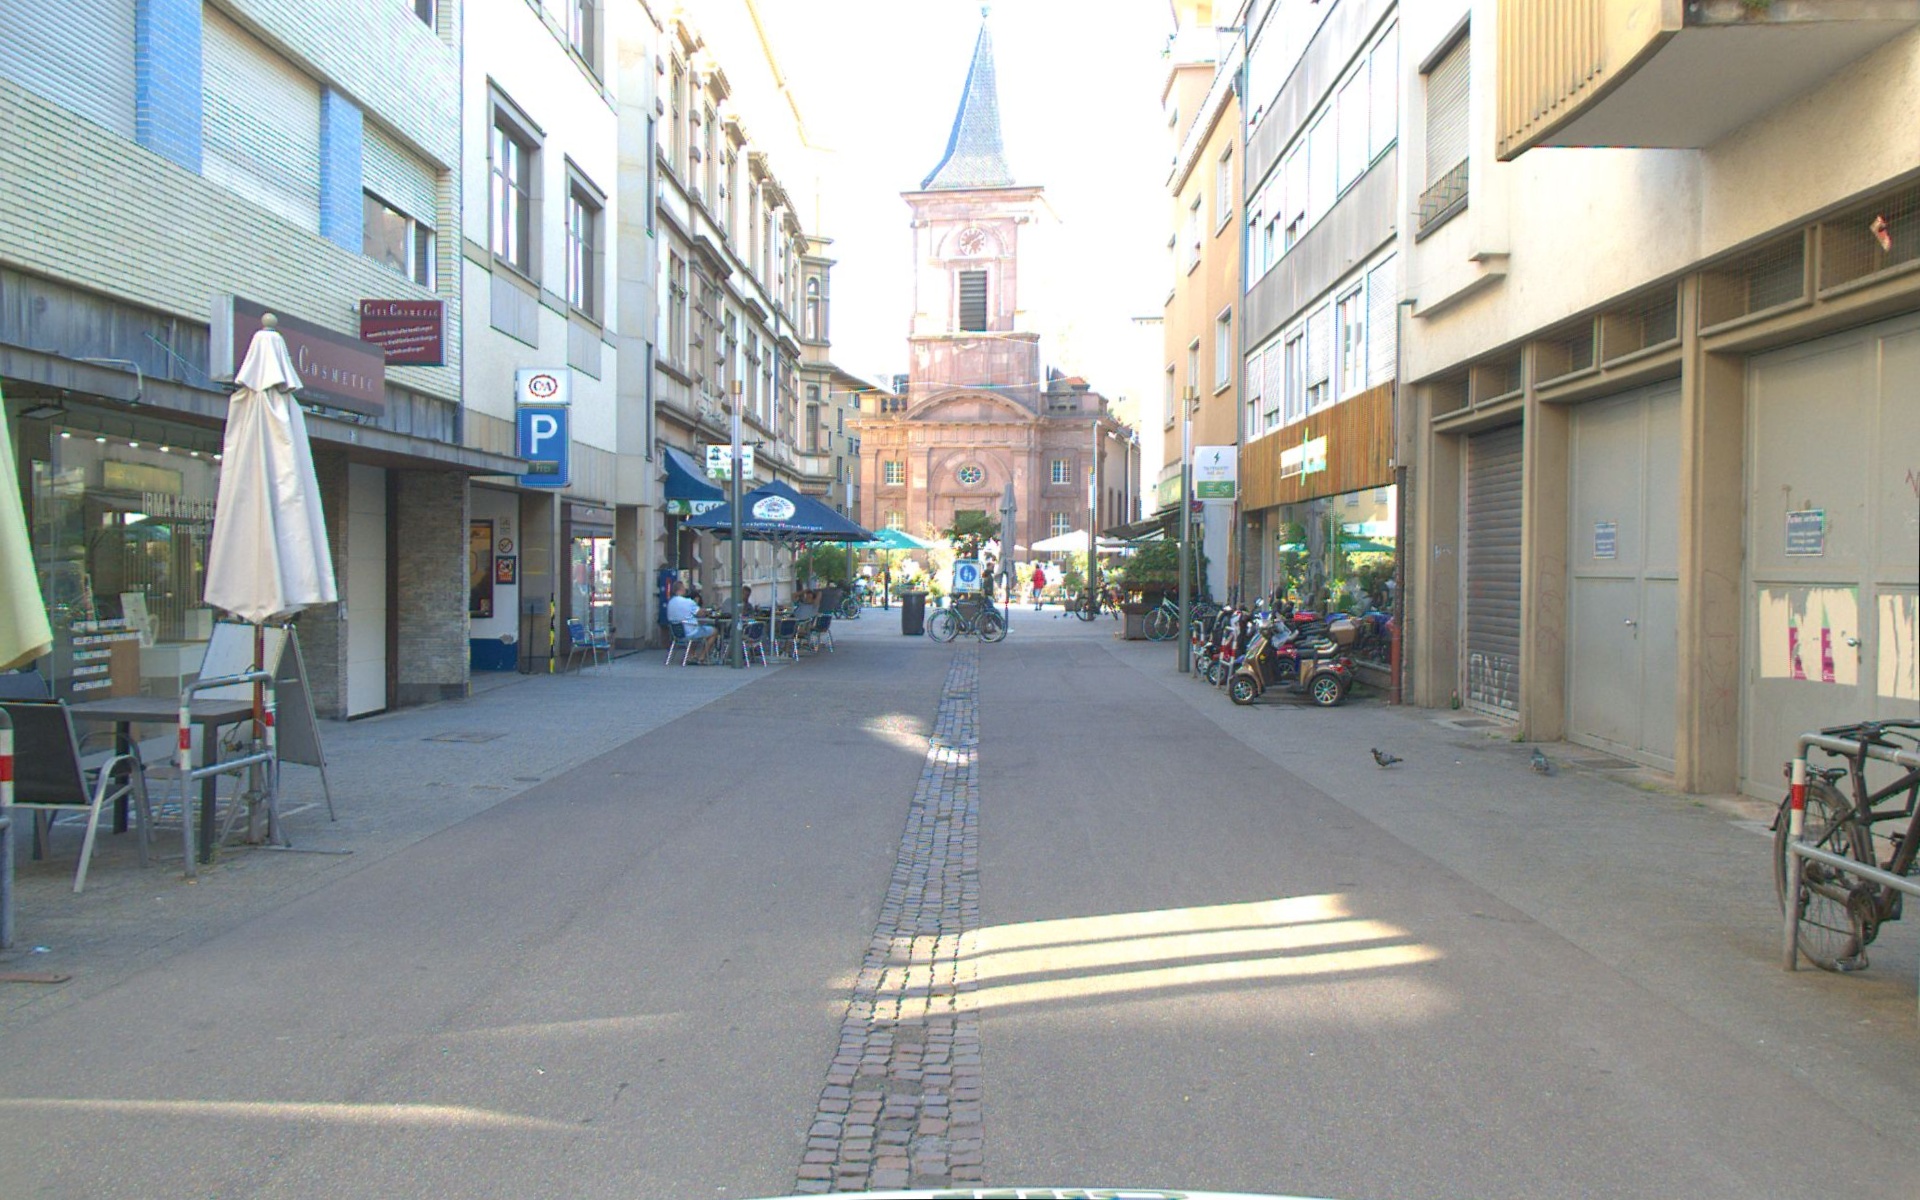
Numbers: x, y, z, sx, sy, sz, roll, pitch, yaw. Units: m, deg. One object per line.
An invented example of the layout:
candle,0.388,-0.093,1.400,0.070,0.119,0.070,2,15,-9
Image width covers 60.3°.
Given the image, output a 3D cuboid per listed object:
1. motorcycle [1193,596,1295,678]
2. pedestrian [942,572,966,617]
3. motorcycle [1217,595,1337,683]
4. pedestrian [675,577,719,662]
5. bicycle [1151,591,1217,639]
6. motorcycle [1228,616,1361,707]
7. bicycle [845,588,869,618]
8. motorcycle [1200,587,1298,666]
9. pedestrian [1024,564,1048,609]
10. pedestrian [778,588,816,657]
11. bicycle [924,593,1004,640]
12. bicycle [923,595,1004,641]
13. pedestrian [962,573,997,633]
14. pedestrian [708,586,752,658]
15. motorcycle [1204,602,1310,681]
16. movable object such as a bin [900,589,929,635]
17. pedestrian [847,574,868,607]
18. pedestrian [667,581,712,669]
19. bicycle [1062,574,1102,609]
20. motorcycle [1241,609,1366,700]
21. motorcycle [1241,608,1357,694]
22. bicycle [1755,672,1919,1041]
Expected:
motorcycle,4.217,0.542,24.533,1.452,1.202,0.412,0,0,16
pedestrian,-0.219,-0.183,58.627,0.767,1.583,0.535,0,1,8
motorcycle,4.393,0.529,22.922,1.590,1.195,0.481,0,0,19
pedestrian,-4.422,0.320,27.745,0.705,1.392,0.708,0,1,-12
bicycle,4.948,0.327,36.526,1.432,1.022,0.573,0,1,7
motorcycle,4.036,0.727,19.970,1.531,1.060,0.373,0,0,19
bicycle,-3.074,0.074,49.372,0.447,0.864,2.148,0,1,4
motorcycle,4.473,0.403,25.612,1.452,1.202,0.412,0,0,16
pedestrian,2.866,-0.503,62.396,0.645,1.669,0.610,1,1,37
pedestrian,-2.973,0.405,30.186,0.679,1.236,0.582,0,1,-8
bicycle,0.095,0.371,37.366,1.787,1.022,0.381,0,1,-3
bicycle,0.083,0.400,36.980,1.787,1.022,0.381,0,1,-3
pedestrian,0.492,0.074,41.499,0.865,1.489,0.731,0,1,1
pedestrian,-4.104,0.383,29.549,0.750,1.254,0.830,0,1,-7
motorcycle,4.248,0.585,23.681,1.452,1.094,0.412,0,0,19
movable object such as a bin,-1.112,0.287,40.259,0.707,1.093,0.374,0,1,-1
pedestrian,-3.940,-0.361,63.483,0.685,1.239,0.720,0,1,6
pedestrian,-4.363,0.396,26.619,0.695,1.392,0.718,0,1,-12
bicycle,4.621,-0.333,62.738,1.568,1.330,0.362,0,1,-29
motorcycle,4.297,0.670,20.693,1.485,1.094,0.412,0,0,19
motorcycle,4.440,0.662,21.661,1.452,1.094,0.412,0,0,19
bicycle,3.433,0.877,5.978,0.437,1.160,1.711,1,0,6
